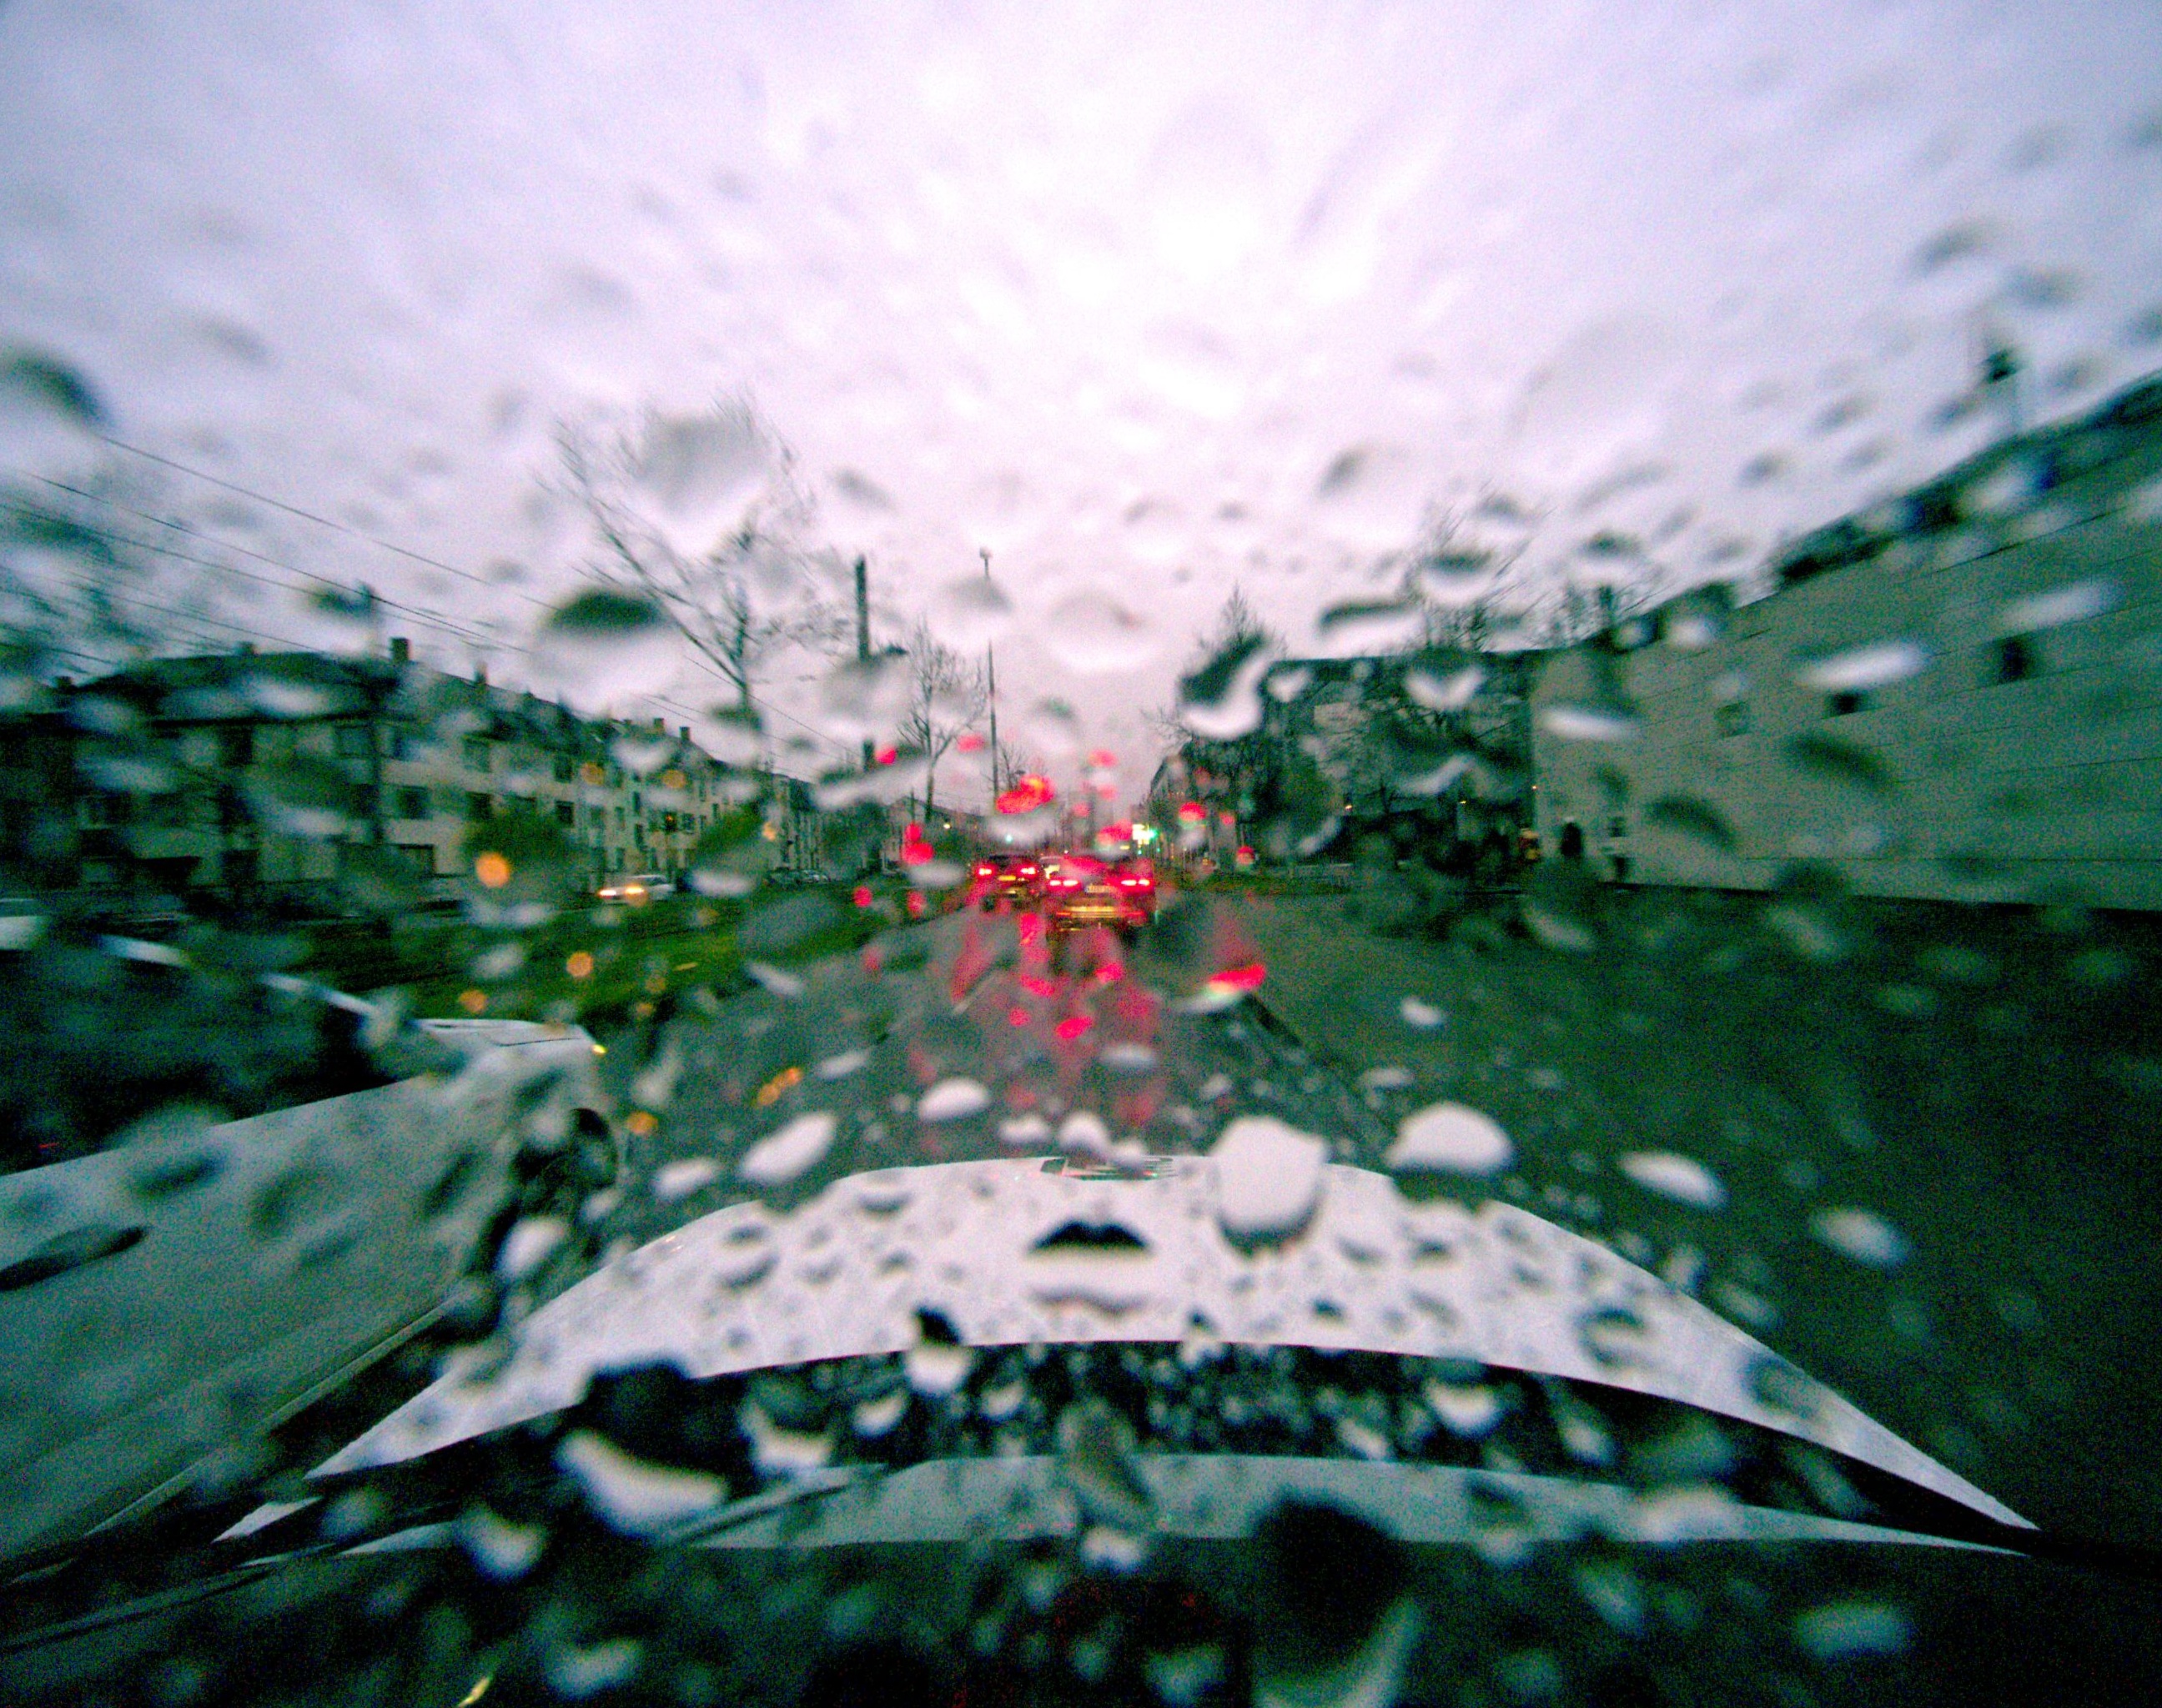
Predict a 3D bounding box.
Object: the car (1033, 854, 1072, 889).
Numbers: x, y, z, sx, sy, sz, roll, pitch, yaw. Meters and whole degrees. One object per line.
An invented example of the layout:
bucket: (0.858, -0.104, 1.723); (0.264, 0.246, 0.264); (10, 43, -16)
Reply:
car: (-1.386, 0.840, 40.660); (1.683, 1.635, 3.475); (-1, 0, 1)

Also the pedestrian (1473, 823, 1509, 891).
pedestrian: (9.960, 0.071, 19.816); (0.667, 1.625, 0.617); (-1, -1, 17)

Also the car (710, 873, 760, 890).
car: (-25.424, 1.998, 59.878); (3.525, 1.141, 1.748); (-1, 0, 34)

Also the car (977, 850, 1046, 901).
car: (-2.113, 0.634, 25.610); (1.812, 1.450, 3.999); (-1, 0, 0)

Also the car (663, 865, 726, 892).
car: (-26.448, 1.648, 55.664); (4.598, 1.723, 1.845); (-1, 0, 35)

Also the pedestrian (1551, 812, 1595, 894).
pedestrian: (10.846, -0.021, 17.972); (0.667, 1.778, 0.617); (-1, -1, 15)

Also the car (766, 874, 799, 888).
car: (-25.168, 2.280, 68.697); (2.361, 1.048, 1.446); (-1, 1, 34)

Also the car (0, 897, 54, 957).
car: (-27.055, 1.790, 20.531); (3.993, 1.230, 1.357); (1, -1, 38)

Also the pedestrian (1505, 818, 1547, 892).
pedestrian: (9.916, 0.021, 18.157); (0.667, 1.612, 0.617); (-1, -1, 15)

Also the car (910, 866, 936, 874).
car: (-23.946, 2.469, 123.315); (3.494, 1.200, 1.894); (-1, 0, 33)

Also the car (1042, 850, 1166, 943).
car: (0.427, 0.709, 15.089); (1.986, 1.483, 3.701); (-1, -1, 1)

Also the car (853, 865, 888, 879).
car: (-24.484, 2.119, 94.599); (4.109, 1.541, 1.680); (-1, -1, 38)

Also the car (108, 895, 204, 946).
car: (-27.180, 1.896, 23.923); (4.053, 1.161, 1.722); (1, -1, 41)

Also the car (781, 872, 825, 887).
car: (-24.717, 2.242, 72.271); (3.772, 1.172, 1.749); (-1, 0, 34)

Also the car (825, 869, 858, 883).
car: (-24.991, 2.273, 85.007); (3.342, 1.422, 1.680); (-1, -1, 40)

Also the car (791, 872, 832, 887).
car: (-24.783, 2.317, 74.933); (3.794, 1.245, 1.749); (-1, 0, 37)

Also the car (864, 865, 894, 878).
car: (-24.912, 2.156, 100.469); (3.800, 1.588, 1.753); (-1, -1, 43)

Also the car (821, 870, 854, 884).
car: (-24.515, 2.348, 82.093); (2.899, 1.336, 1.749); (-1, 0, 34)

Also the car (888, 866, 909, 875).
car: (-24.247, 2.199, 108.036); (2.851, 1.204, 1.397); (-1, -1, 43)

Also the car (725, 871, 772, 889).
car: (-25.481, 1.944, 62.390); (3.534, 1.309, 1.697); (-1, 0, 34)

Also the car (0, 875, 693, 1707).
car: (-2.621, 0.831, 1.613); (1.682, 1.474, 4.002); (-1, 0, 2)

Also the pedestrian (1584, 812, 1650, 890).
pedestrian: (11.845, -0.059, 18.015); (0.665, 1.655, 0.993); (-3, -1, -4)

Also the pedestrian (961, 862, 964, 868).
pedestrian: (-24.524, 2.259, 168.951); (0.348, 1.184, 0.429); (0, -1, -39)

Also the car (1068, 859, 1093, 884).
car: (-0.001, 1.285, 60.363); (1.655, 1.759, 3.570); (-1, -1, 3)

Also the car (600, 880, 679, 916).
car: (-20.848, 2.062, 38.597); (1.539, 1.504, 3.786); (-1, 0, 3)
